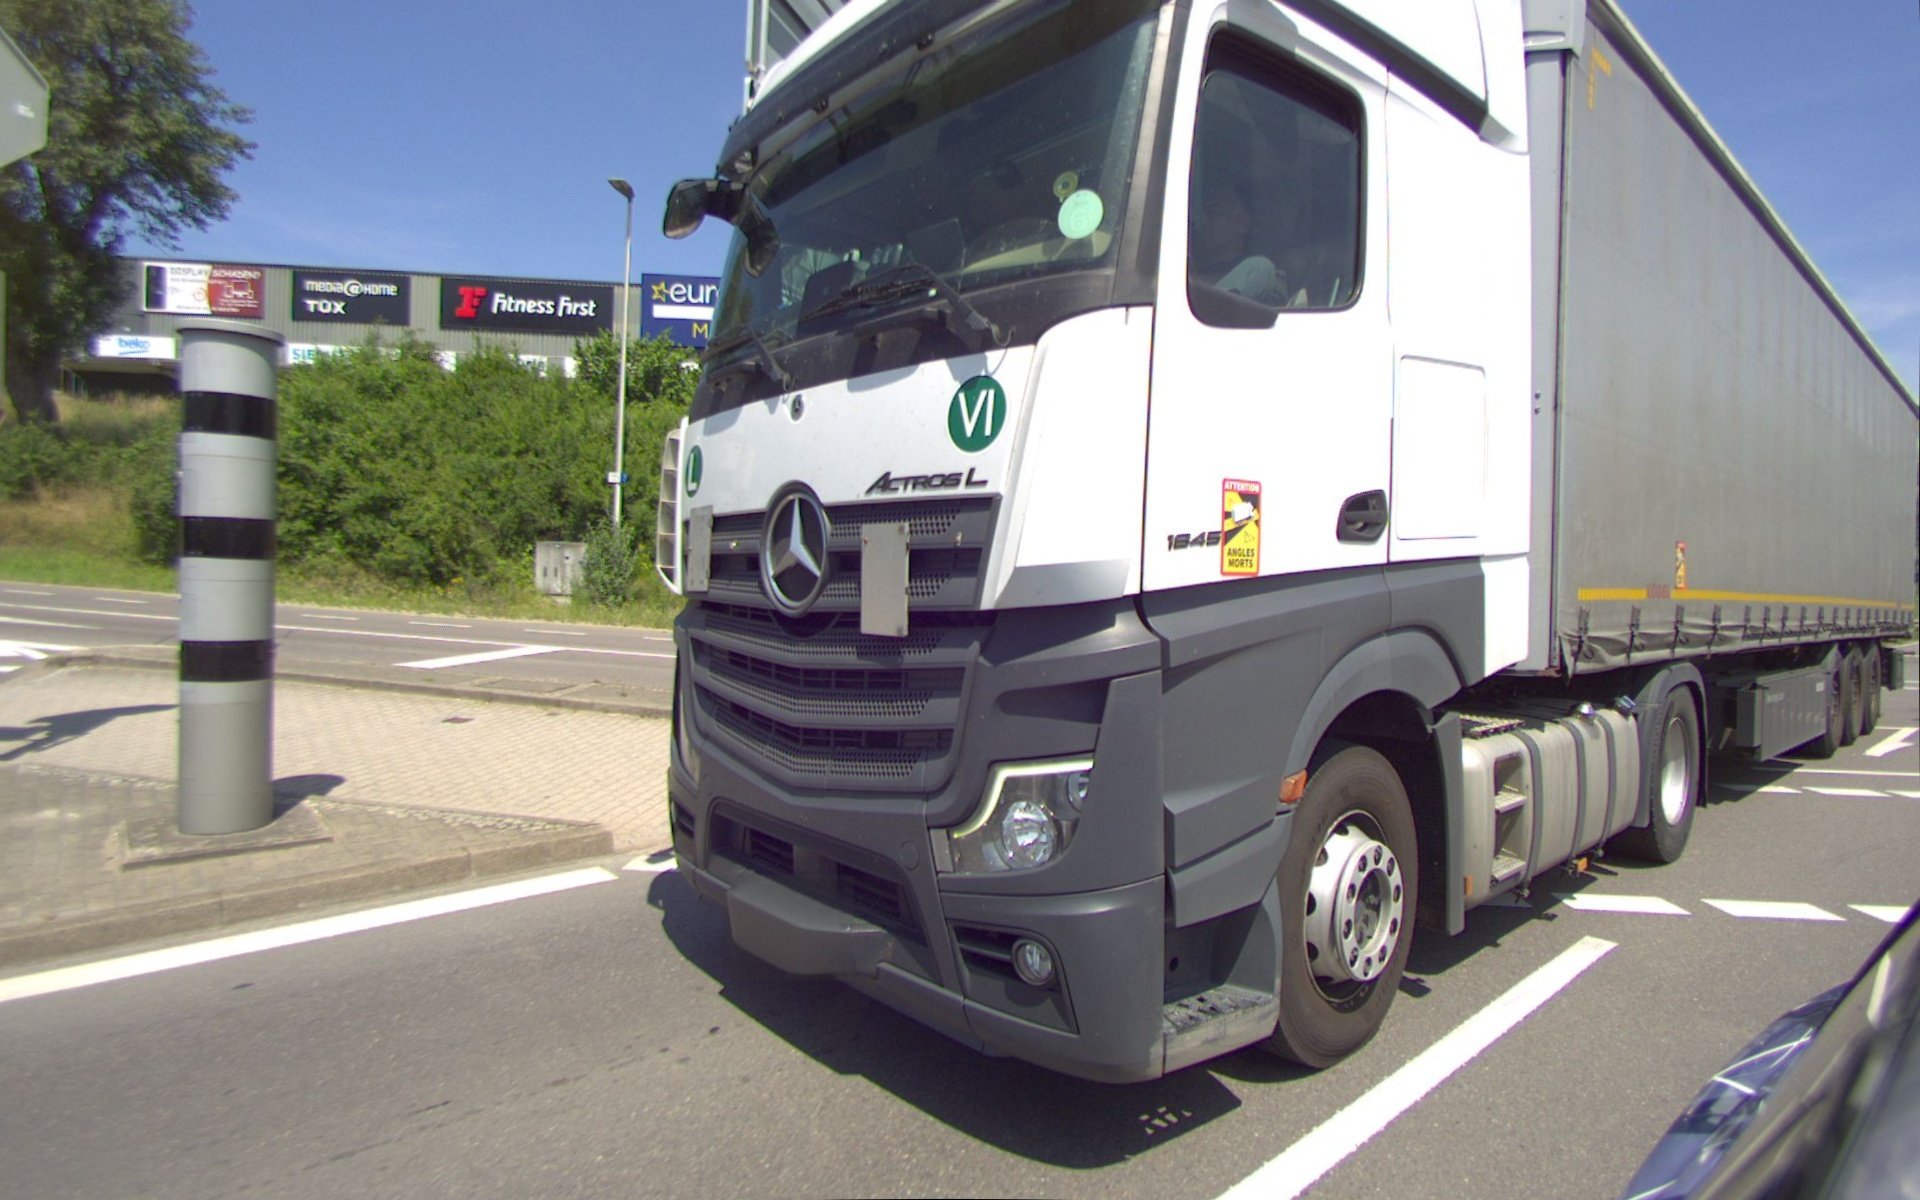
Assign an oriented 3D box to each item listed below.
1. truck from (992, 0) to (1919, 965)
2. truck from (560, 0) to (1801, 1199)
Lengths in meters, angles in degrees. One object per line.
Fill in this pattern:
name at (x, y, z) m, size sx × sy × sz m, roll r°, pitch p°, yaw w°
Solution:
truck at (6.407, -0.736, 9.453) m, size 13.879 × 4.059 × 2.979 m, roll 0°, pitch 3°, yaw -42°
truck at (1.661, -0.722, 5.210) m, size 6.216 × 4.059 × 2.980 m, roll 1°, pitch 3°, yaw -41°
